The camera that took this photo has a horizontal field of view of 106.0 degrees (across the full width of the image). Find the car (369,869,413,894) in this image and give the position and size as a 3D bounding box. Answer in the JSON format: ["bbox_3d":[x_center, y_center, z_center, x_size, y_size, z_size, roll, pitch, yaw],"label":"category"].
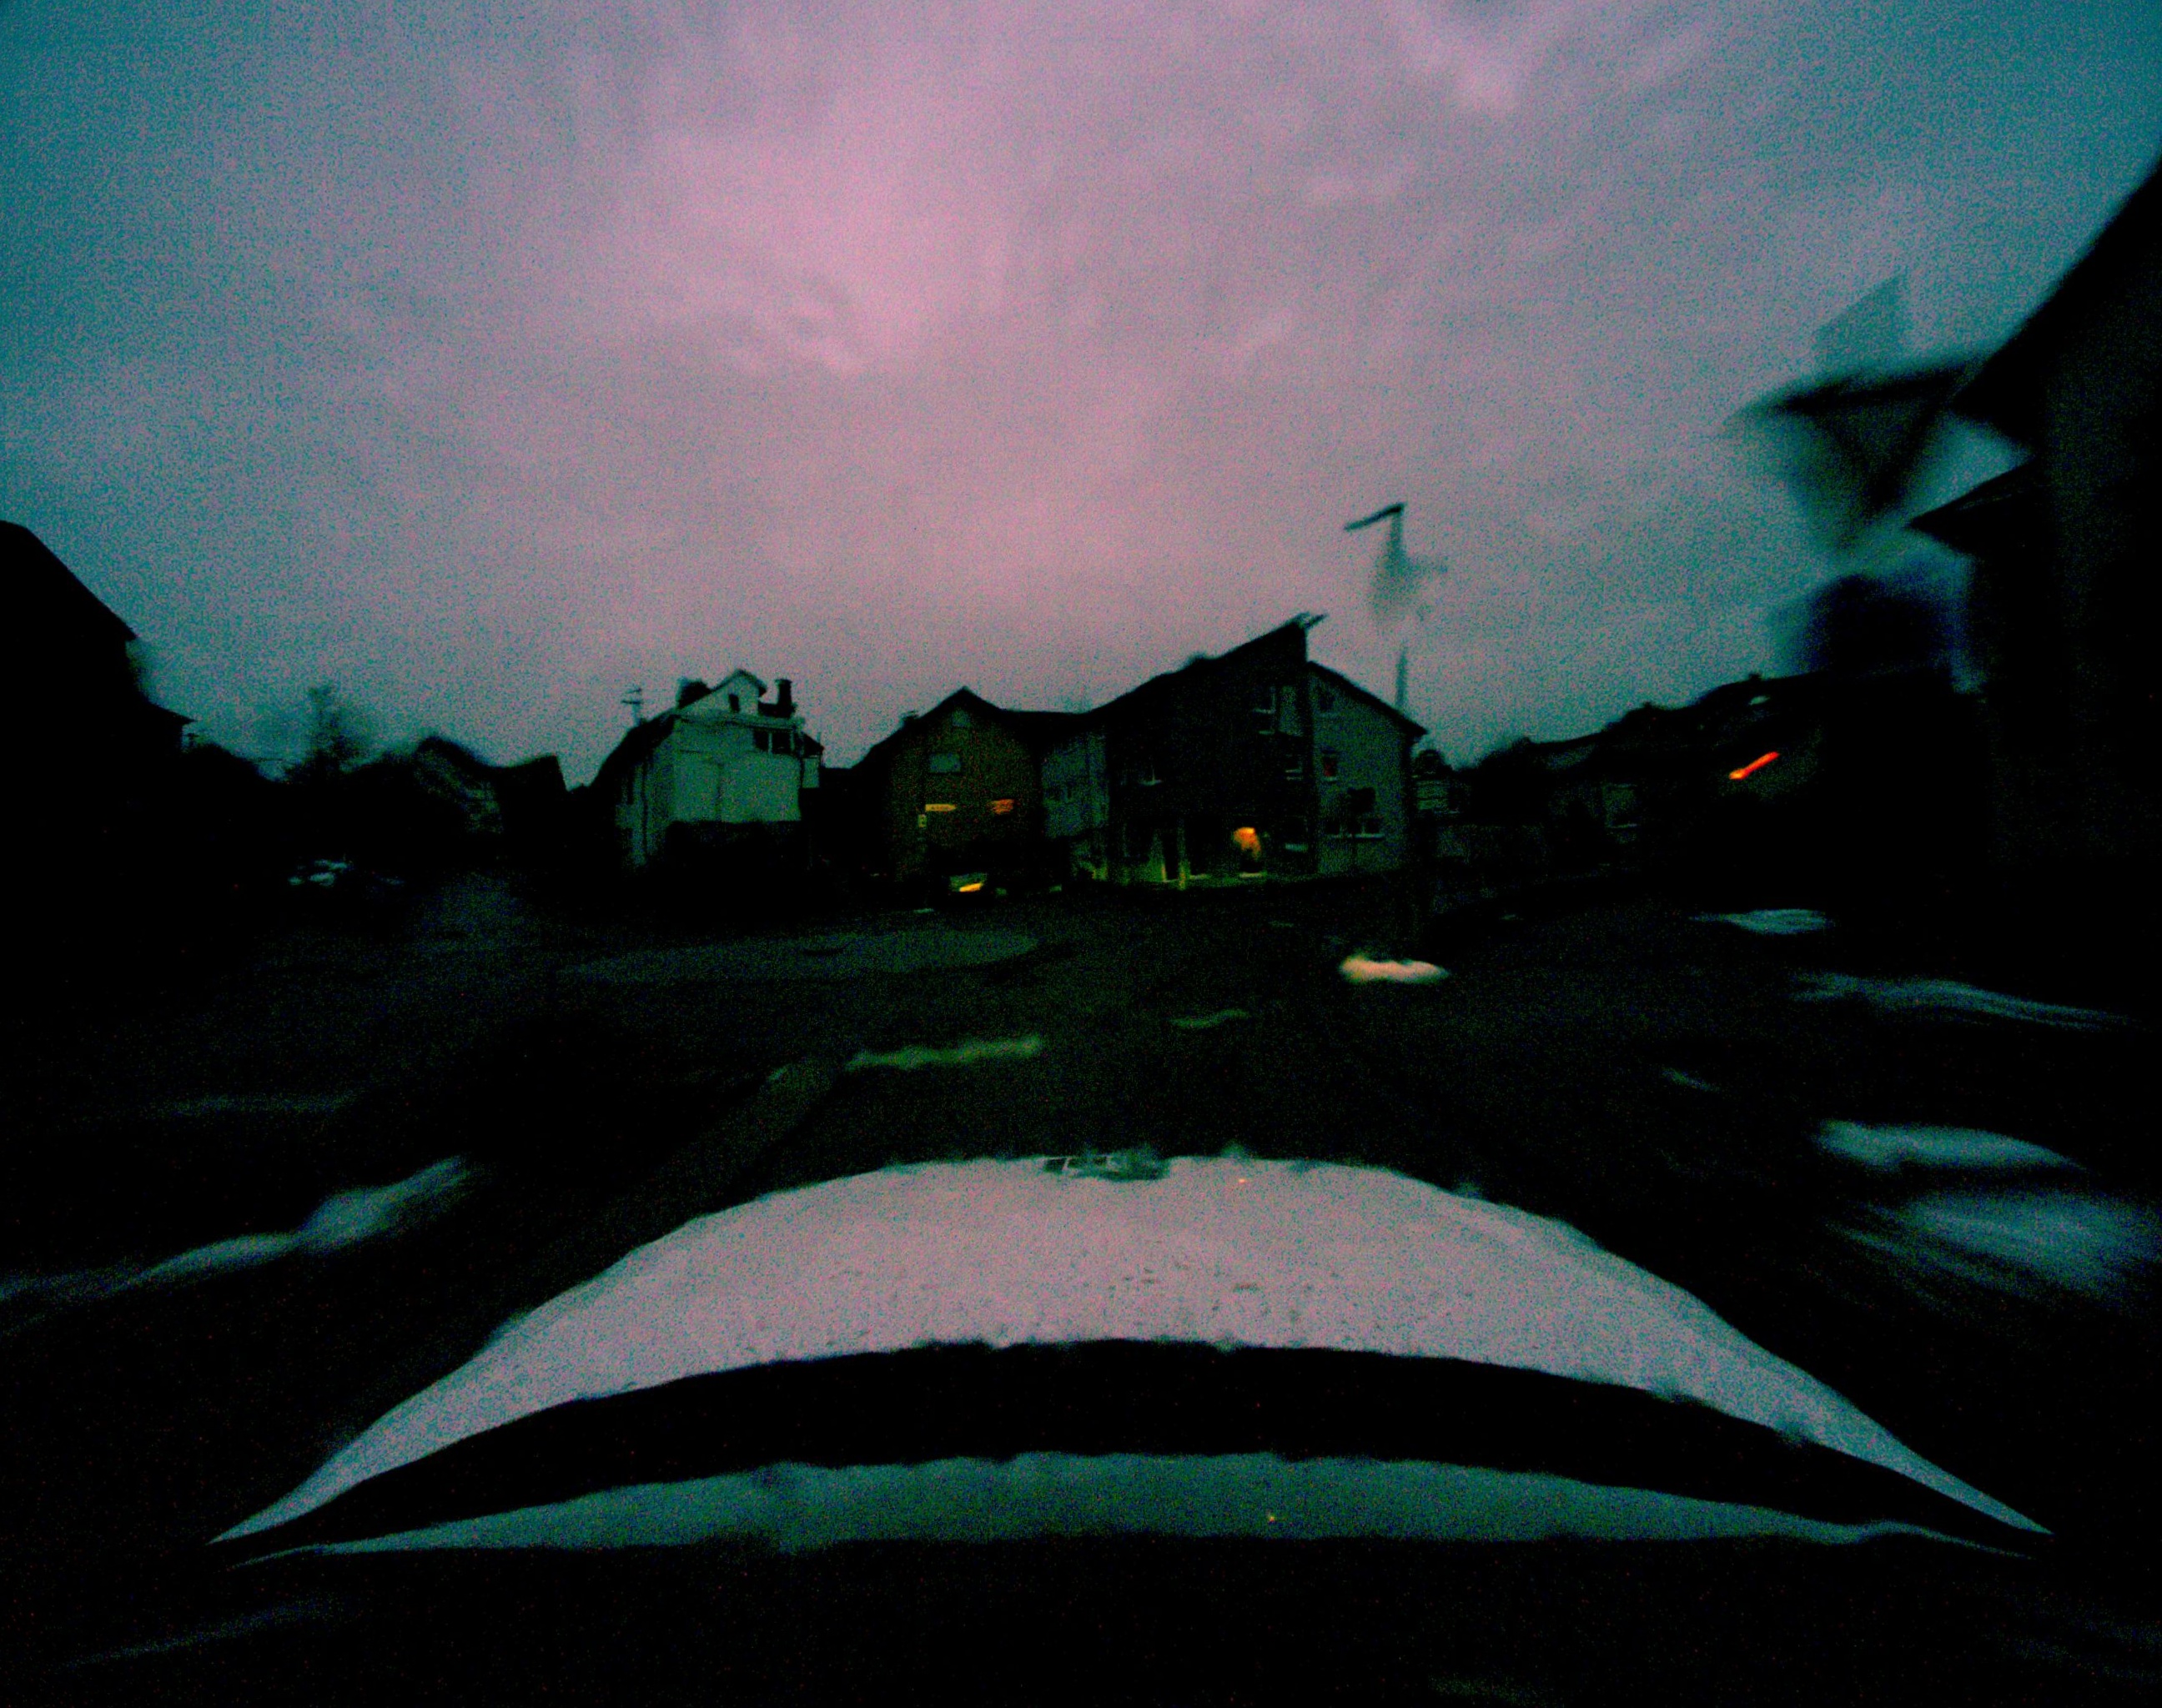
[{"bbox_3d":[-46.576,1.839,55.067,1.942,1.517,3.955,-2,0,-36],"label":"car"}]

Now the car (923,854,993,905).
[{"bbox_3d":[-4.536,0.867,29.523,1.998,1.644,3.978,-2,0,-16],"label":"car"}]

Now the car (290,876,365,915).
[{"bbox_3d":[-33.027,1.787,35.819,1.942,1.517,3.955,-2,0,-36],"label":"car"}]

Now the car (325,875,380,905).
[{"bbox_3d":[-41.610,2.025,46.601,1.942,1.517,3.955,-2,0,-36],"label":"car"}]

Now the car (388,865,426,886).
[{"bbox_3d":[-51.364,1.644,62.102,1.942,1.517,3.955,-2,0,-36],"label":"car"}]

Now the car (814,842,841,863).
[{"bbox_3d":[-21.055,-0.117,67.749,1.998,1.644,3.978,-2,0,-16],"label":"car"}]

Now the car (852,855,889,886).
[{"bbox_3d":[-12.433,0.931,47.933,1.998,1.644,3.978,-2,0,-16],"label":"car"}]
